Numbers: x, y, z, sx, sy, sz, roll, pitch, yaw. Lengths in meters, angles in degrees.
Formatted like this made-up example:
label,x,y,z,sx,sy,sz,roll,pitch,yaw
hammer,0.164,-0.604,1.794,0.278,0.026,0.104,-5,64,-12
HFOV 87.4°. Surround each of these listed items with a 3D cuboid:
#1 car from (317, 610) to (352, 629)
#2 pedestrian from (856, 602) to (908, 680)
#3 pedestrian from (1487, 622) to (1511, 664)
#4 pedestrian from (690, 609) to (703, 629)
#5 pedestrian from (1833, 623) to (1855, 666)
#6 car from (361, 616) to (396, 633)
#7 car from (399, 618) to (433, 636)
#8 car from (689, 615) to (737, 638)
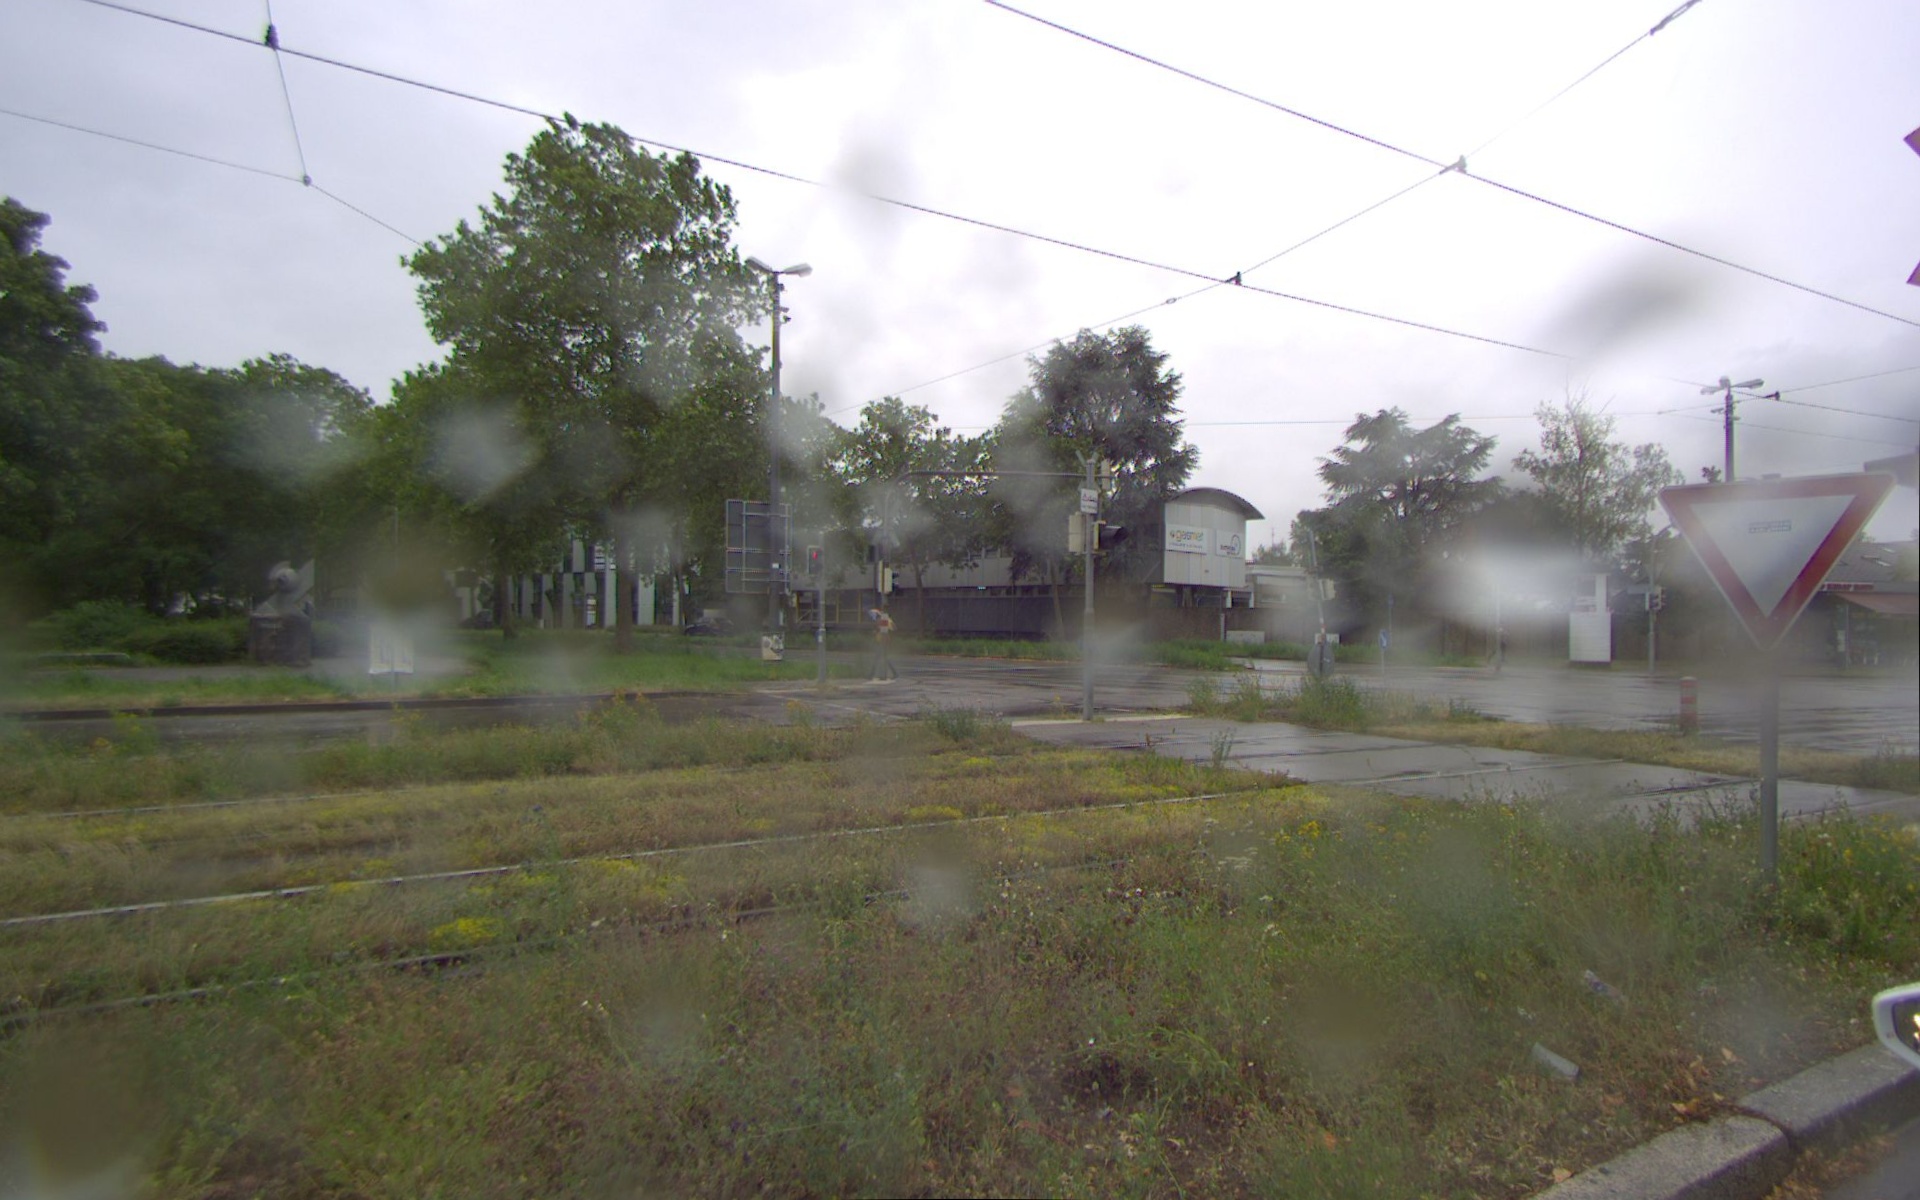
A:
label,x,y,z,sx,sy,sz,roll,pitch,yaw
car,-75.258,2.368,120.857,3.932,2.116,2.123,2,0,33
pedestrian,-2.088,1.076,26.870,0.998,2.017,0.945,2,0,-34
pedestrian,24.226,1.921,45.192,0.870,1.821,0.726,2,1,26
pedestrian,-22.501,1.638,85.819,0.810,1.690,0.672,2,0,30
pedestrian,43.040,2.149,48.911,0.714,2.040,0.791,2,0,38
car,-65.888,2.764,113.870,3.934,1.806,1.993,2,0,36
car,-59.769,2.992,110.248,3.940,1.806,1.990,2,0,41
car,-17.132,1.825,69.606,1.679,1.417,4.087,2,0,-39
